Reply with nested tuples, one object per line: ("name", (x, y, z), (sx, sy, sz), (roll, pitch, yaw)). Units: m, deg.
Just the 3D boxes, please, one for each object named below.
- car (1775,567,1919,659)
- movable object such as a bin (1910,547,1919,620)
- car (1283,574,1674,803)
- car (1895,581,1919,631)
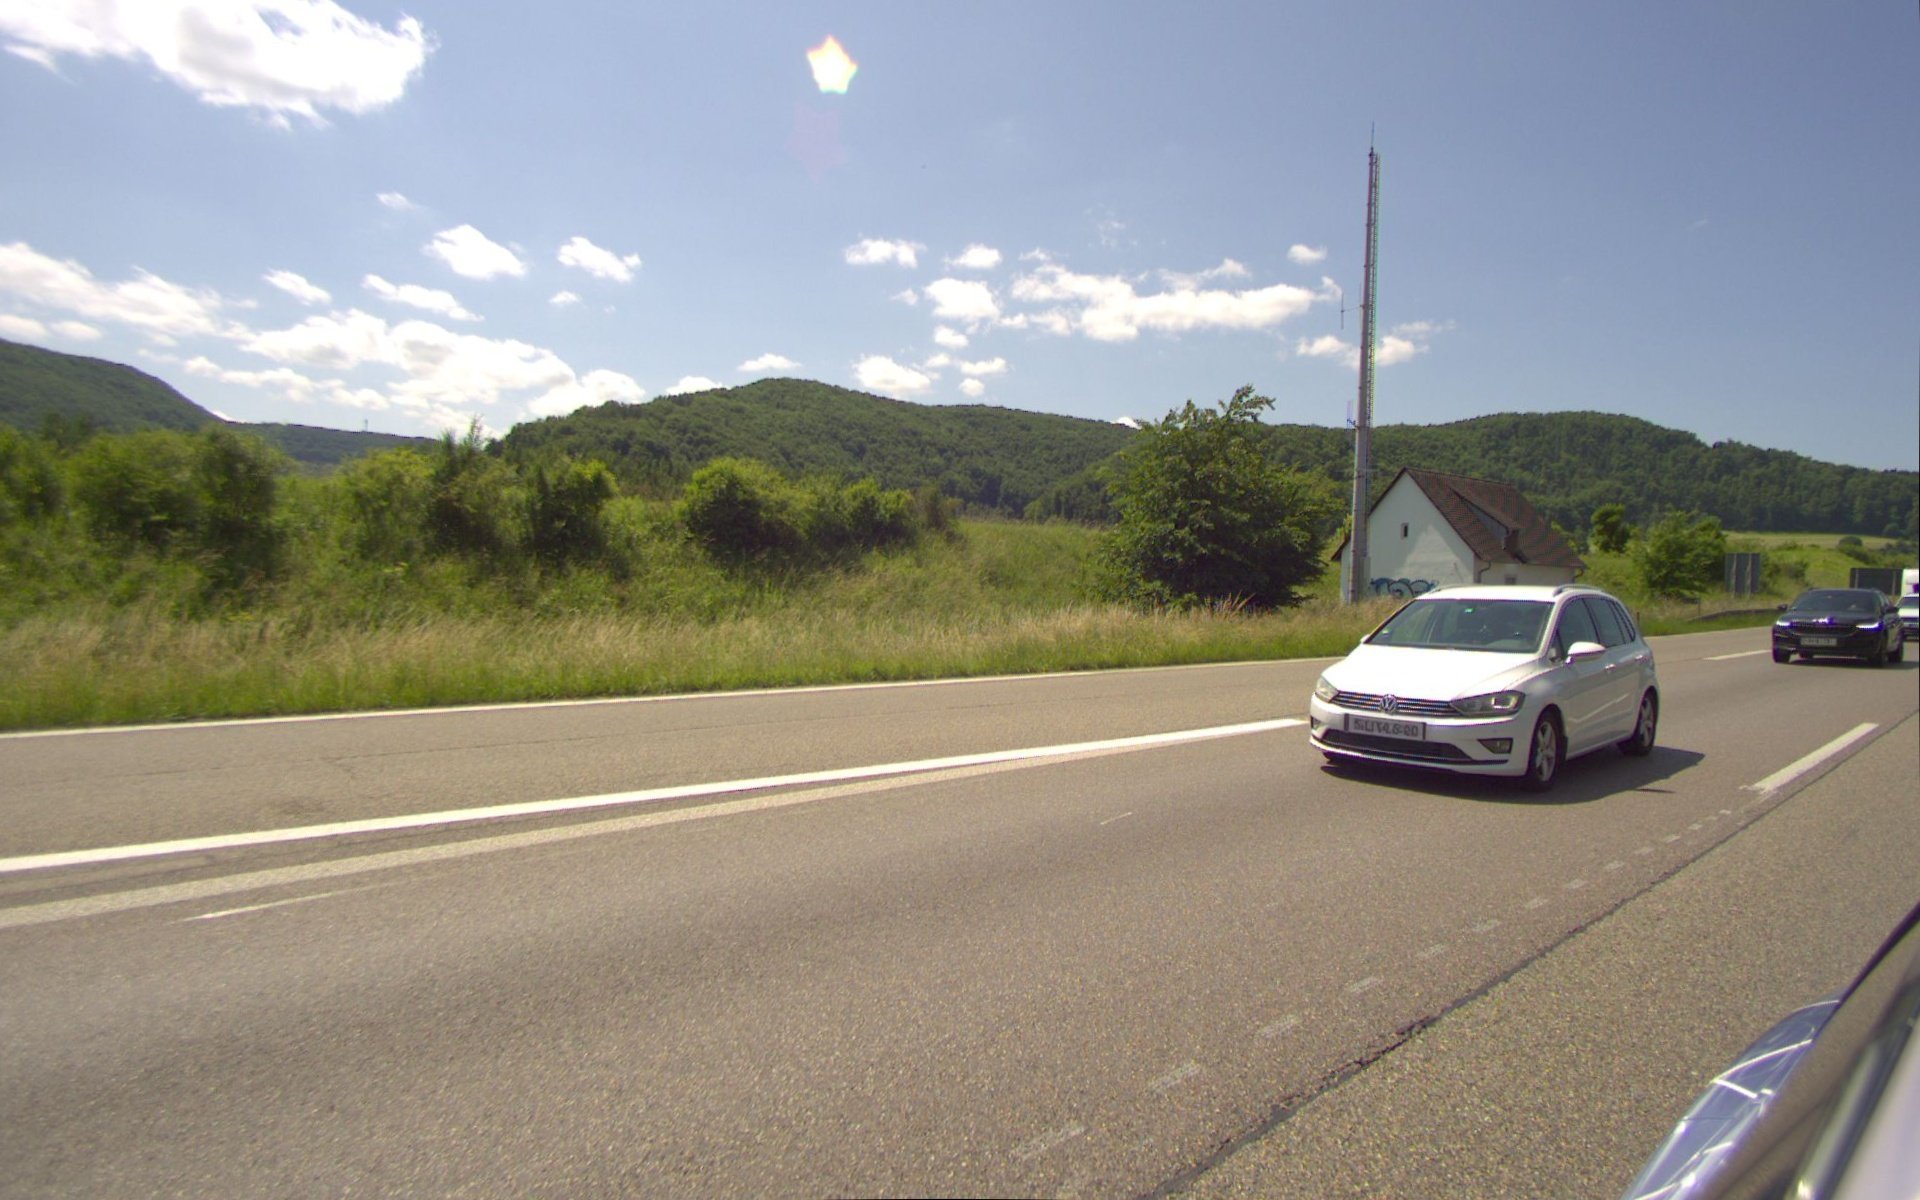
("car", (19.552, 0.231, 22.121), (4.097, 1.794, 1.893), (0, 2, -40))
("movable object such as a bin", (37.982, -0.606, 38.088), (6.590, 2.664, 2.480), (0, 1, -40))
("car", (4.705, 0.577, 8.931), (3.985, 1.560, 1.775), (-1, 1, -42))
("car", (32.656, 0.197, 33.646), (3.929, 1.603, 1.820), (0, 1, -40))
